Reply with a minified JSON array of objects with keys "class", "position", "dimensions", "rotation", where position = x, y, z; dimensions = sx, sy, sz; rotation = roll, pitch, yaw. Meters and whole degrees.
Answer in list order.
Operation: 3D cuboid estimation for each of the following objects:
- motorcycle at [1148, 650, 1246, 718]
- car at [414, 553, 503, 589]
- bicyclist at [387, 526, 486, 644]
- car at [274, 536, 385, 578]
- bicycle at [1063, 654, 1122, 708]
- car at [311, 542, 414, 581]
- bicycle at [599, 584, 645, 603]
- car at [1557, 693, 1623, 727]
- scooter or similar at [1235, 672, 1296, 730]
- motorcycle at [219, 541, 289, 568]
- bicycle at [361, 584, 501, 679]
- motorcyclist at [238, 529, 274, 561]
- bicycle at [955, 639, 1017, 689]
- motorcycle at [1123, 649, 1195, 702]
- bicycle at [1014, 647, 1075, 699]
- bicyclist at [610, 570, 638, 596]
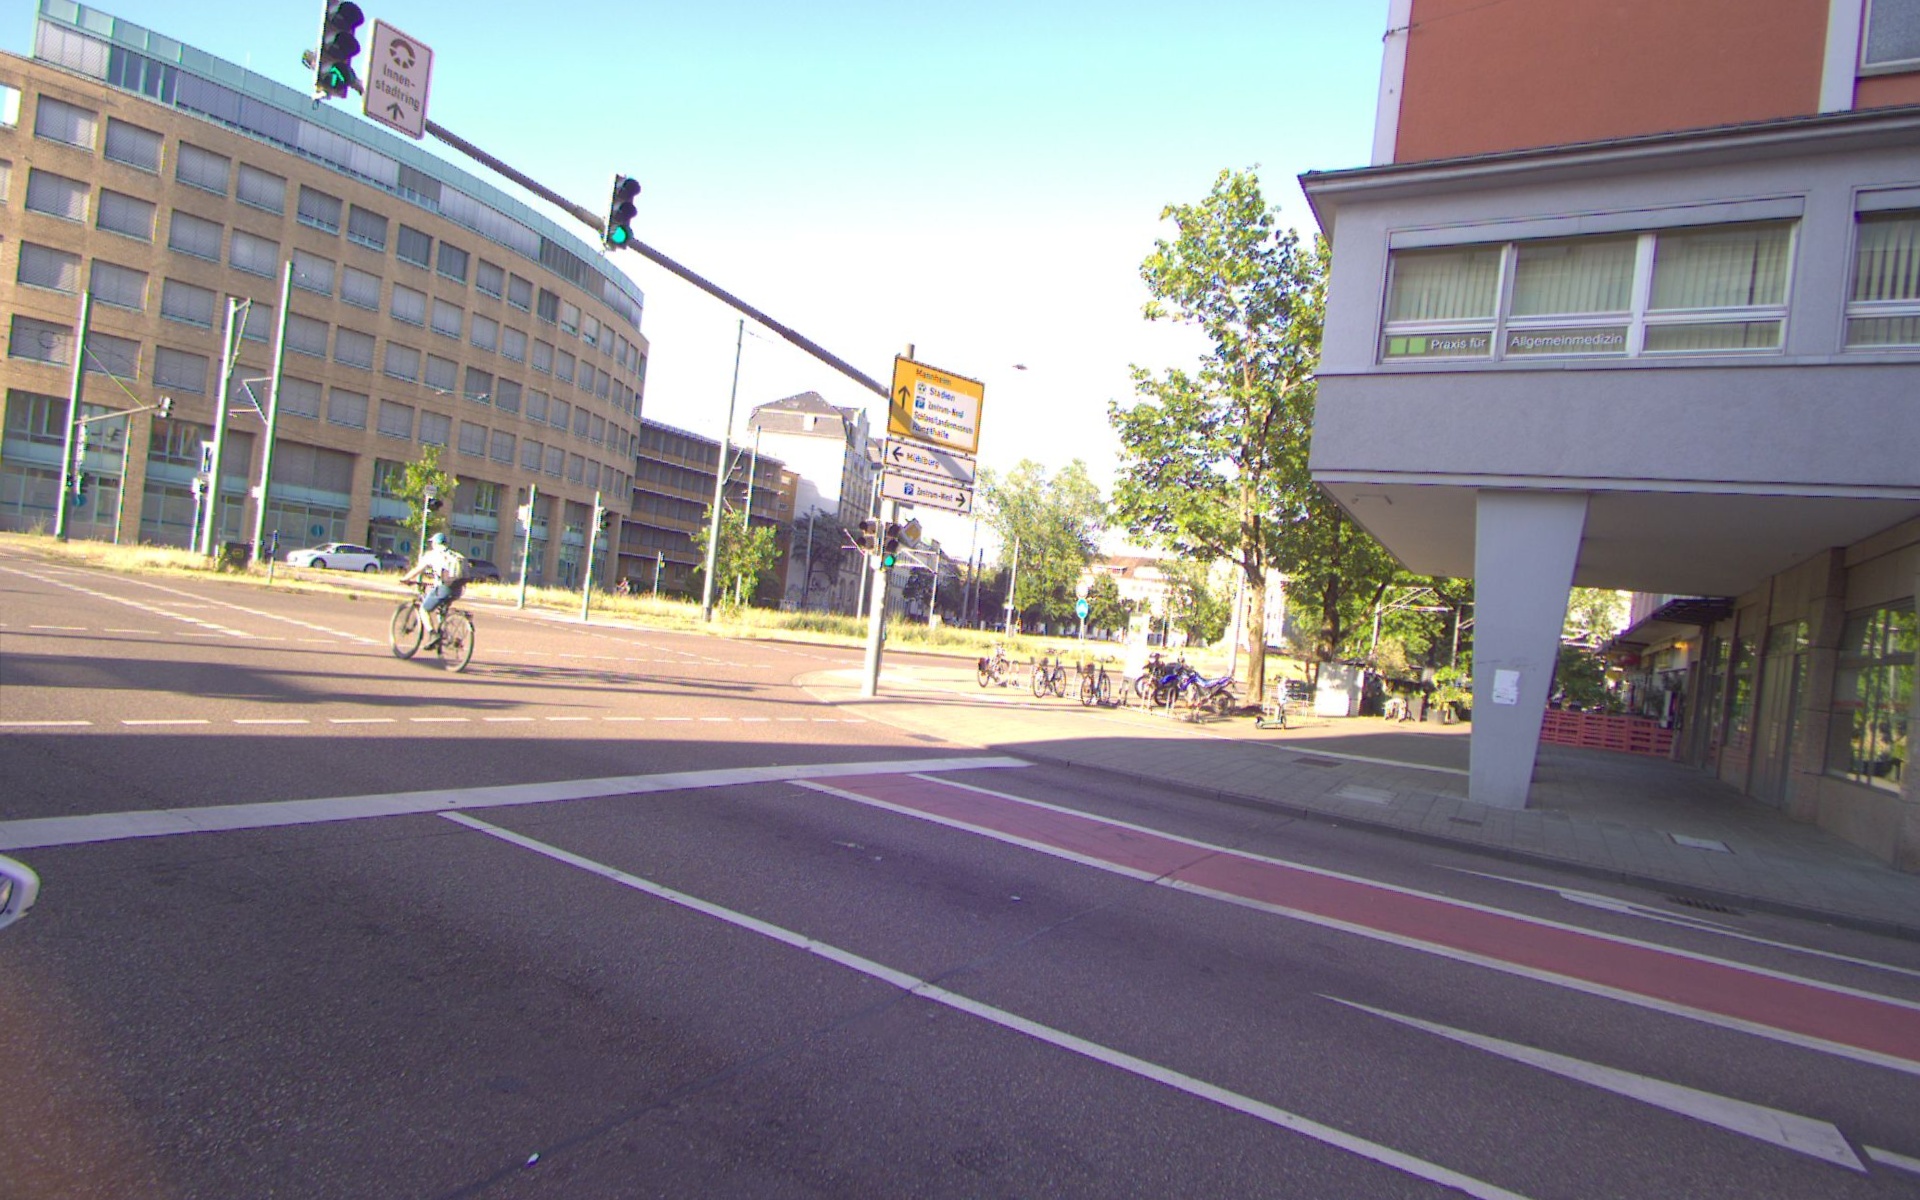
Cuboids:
[{"class":"motorcycle","position":[6.029,2.121,25.563],"dimensions":[2.224,1.409,0.844],"rotation":[7,-1,19]},{"class":"car","position":[-27.947,-1.588,56.184],"dimensions":[1.790,1.509,4.059],"rotation":[6,-1,30]},{"class":"bicyclist","position":[-6.734,-0.191,12.948],"dimensions":[0.914,1.385,0.593],"rotation":[7,-1,32]},{"class":"car","position":[-31.386,-2.133,50.208],"dimensions":[1.961,1.509,4.171],"rotation":[6,-1,29]},{"class":"bicycle","position":[3.129,1.877,23.577],"dimensions":[0.583,1.129,2.058],"rotation":[7,1,28]},{"class":"car","position":[-33.440,-2.118,56.423],"dimensions":[1.953,1.555,4.488],"rotation":[6,-1,32]},{"class":"bicycle","position":[-23.349,-0.442,69.526],"dimensions":[1.134,1.012,2.966],"rotation":[6,-1,29]},{"class":"car","position":[36.446,6.376,58.160],"dimensions":[3.842,1.575,1.944],"rotation":[8,-1,-38]},{"class":"scooter or similar","position":[7.027,2.327,23.099],"dimensions":[1.549,1.251,0.479],"rotation":[6,1,-40]},{"class":"motorcycle","position":[-36.266,-2.330,51.711],"dimensions":[1.014,0.975,2.722],"rotation":[6,-1,30]},{"class":"bicycle","position":[-6.826,0.394,12.946],"dimensions":[1.945,0.954,0.593],"rotation":[7,-2,32]},{"class":"motorcyclist","position":[-36.207,-2.806,51.722],"dimensions":[1.014,1.453,1.067],"rotation":[6,0,30]},{"class":"bicycle","position":[0.664,1.565,25.013],"dimensions":[0.583,1.129,1.974],"rotation":[7,1,28]},{"class":"motorcycle","position":[5.616,2.142,28.364],"dimensions":[2.044,1.324,0.879],"rotation":[7,-1,-44]},{"class":"bicycle","position":[2.057,1.741,24.192],"dimensions":[0.584,1.129,2.003],"rotation":[7,1,29]},{"class":"bicyclist","position":[-23.244,-1.148,69.560],"dimensions":[1.134,1.591,1.225],"rotation":[6,0,30]}]
